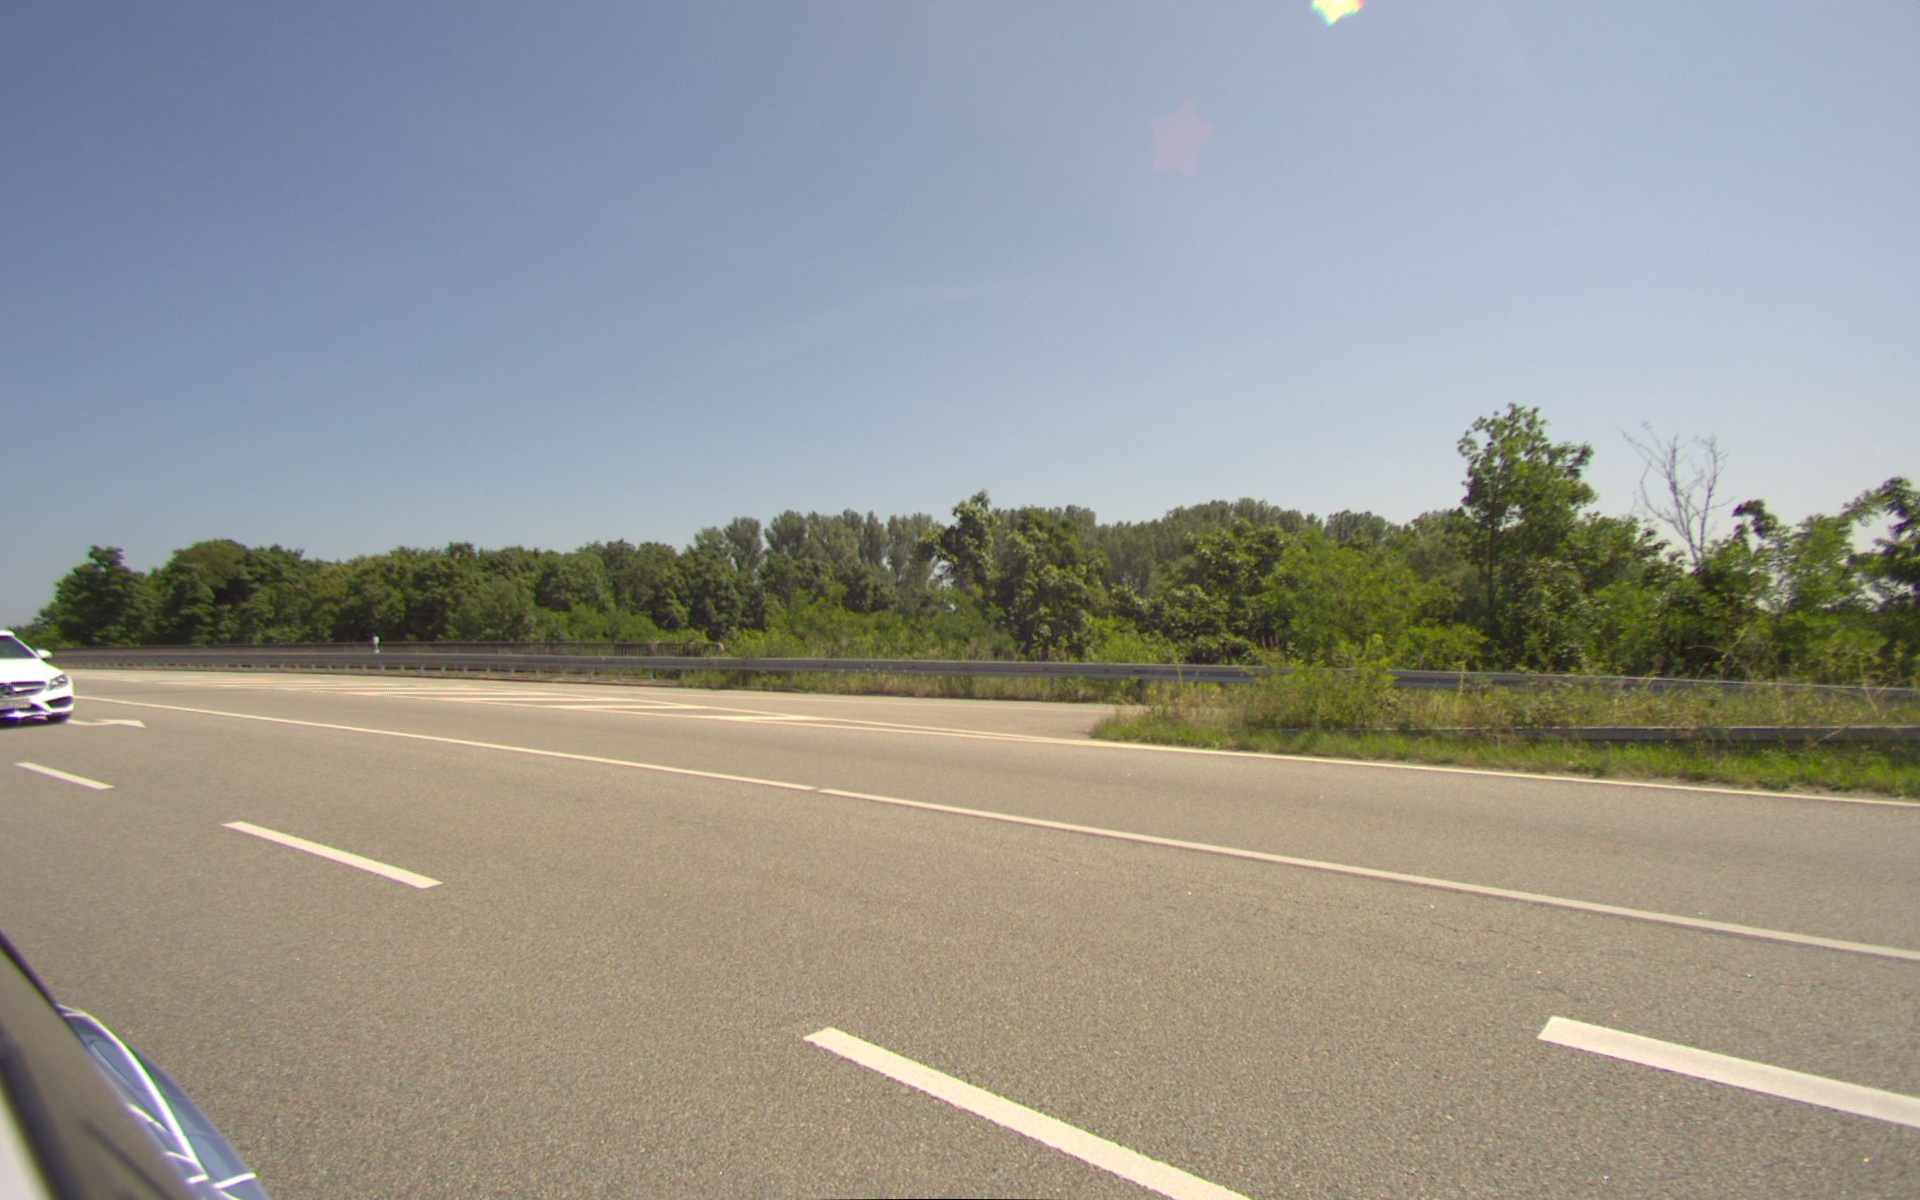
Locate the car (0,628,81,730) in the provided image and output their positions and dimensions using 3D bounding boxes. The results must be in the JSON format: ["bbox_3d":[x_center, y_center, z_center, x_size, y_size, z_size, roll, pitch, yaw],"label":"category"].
[{"bbox_3d":[-15.340,1.198,15.530,4.099,1.426,1.794,-2,-1,34],"label":"car"}]
